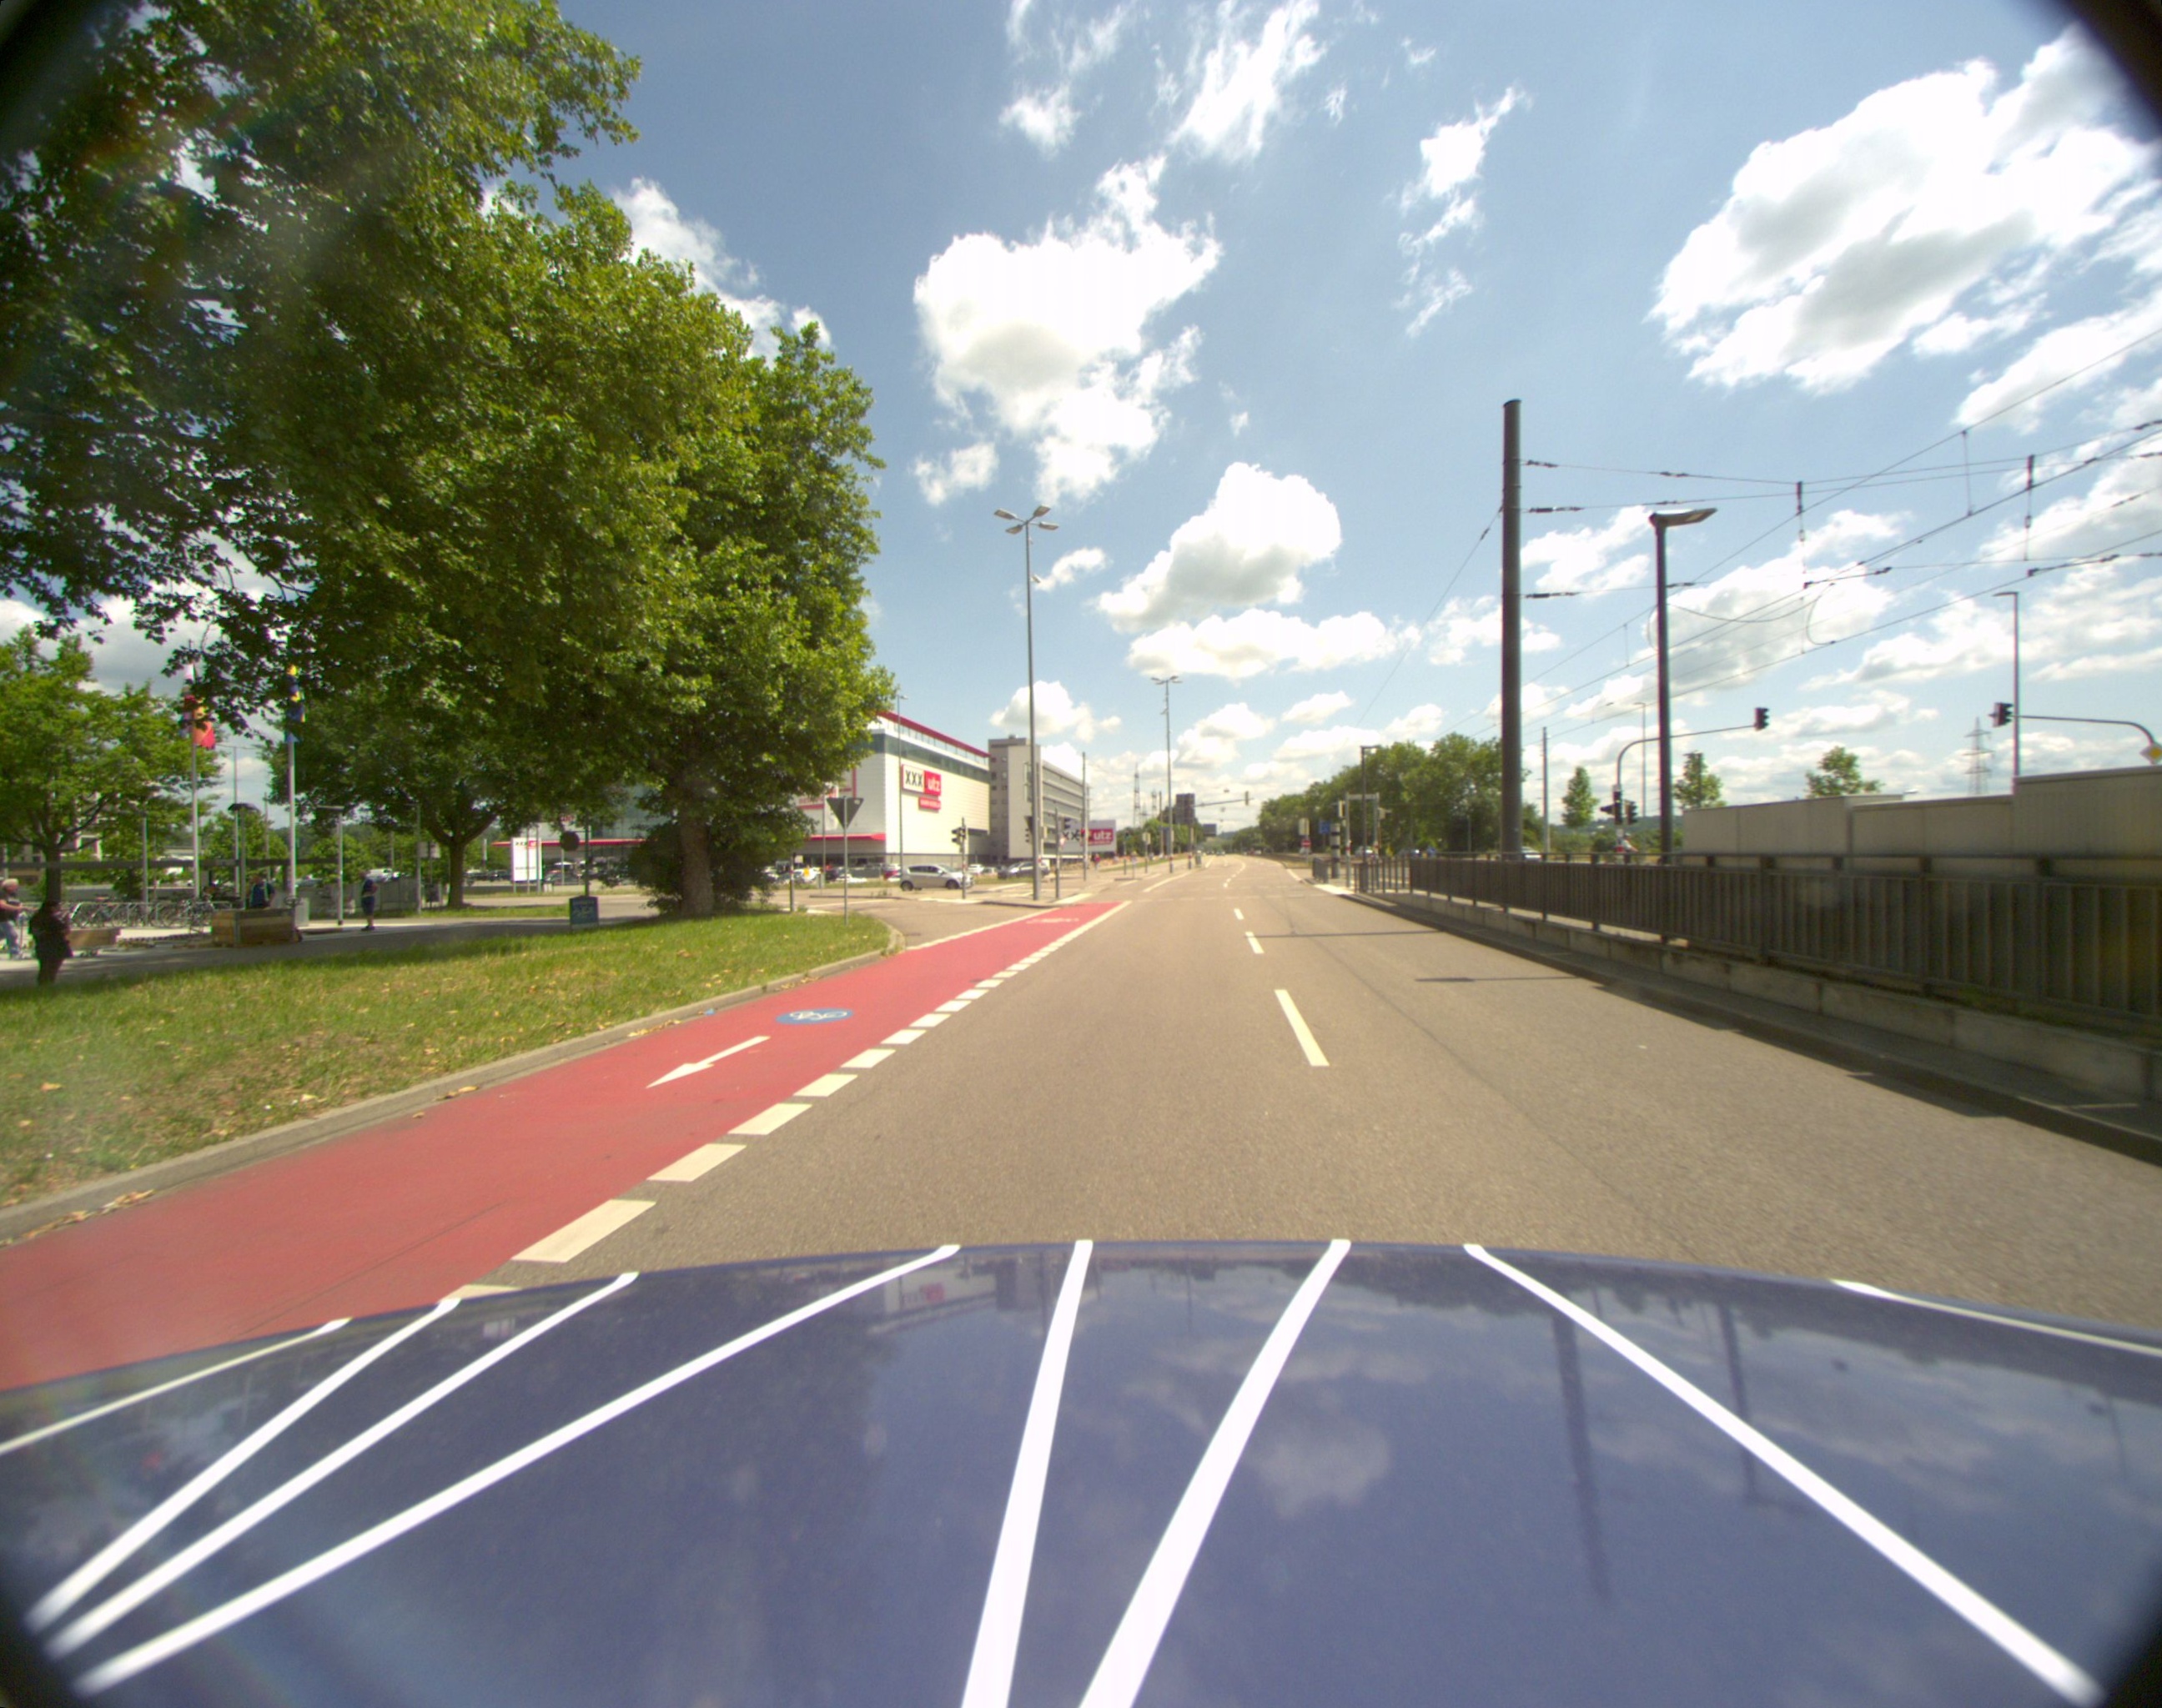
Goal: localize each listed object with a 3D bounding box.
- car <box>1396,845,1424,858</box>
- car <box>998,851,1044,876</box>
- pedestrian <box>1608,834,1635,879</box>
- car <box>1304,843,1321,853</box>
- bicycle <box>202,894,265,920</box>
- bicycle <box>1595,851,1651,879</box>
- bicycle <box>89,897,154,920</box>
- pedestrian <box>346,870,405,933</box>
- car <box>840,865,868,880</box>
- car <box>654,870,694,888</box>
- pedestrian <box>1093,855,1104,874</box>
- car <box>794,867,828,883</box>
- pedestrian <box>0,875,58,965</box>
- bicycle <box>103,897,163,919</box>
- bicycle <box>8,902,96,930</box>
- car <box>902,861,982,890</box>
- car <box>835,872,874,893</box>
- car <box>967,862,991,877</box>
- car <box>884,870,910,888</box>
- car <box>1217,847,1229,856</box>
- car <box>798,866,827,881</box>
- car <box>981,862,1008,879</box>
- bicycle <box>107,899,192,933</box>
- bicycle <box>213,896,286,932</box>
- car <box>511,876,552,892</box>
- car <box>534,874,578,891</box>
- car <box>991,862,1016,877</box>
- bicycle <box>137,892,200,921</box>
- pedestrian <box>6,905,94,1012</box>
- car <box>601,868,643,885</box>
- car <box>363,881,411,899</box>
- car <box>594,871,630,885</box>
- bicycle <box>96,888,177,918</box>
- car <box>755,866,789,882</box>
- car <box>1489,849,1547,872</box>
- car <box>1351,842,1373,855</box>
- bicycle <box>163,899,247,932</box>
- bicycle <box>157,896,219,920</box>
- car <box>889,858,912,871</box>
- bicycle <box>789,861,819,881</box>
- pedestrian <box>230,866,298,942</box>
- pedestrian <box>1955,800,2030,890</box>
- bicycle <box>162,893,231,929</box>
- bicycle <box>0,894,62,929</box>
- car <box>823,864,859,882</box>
[{"bbox_3d":[37.682,-0.330,86.988,1.668,1.400,3.893,-2,0,4],"label":"car"},{"bbox_3d":[-5.033,0.829,64.200,1.995,2.001,4.008,-2,-1,27],"label":"car"},{"bbox_3d":[21.797,0.106,30.646,0.671,1.758,0.613,-2,0,13],"label":"pedestrian"},{"bbox_3d":[44.265,-1.194,145.413,1.995,1.797,5.144,-2,-1,29],"label":"car"},{"bbox_3d":[-37.199,2.306,33.393,0.423,1.028,1.870,-2,-1,13],"label":"bicycle"},{"bbox_3d":[21.842,0.434,30.643,1.719,1.081,0.621,-2,0,13],"label":"bicycle"},{"bbox_3d":[-43.050,2.430,34.123,0.423,0.988,1.869,-1,-2,7],"label":"bicycle"},{"bbox_3d":[-22.041,1.470,23.748,0.971,1.891,1.012,-1,0,26],"label":"pedestrian"},{"bbox_3d":[-31.150,2.527,104.466,1.997,1.977,4.090,-2,-1,11],"label":"car"},{"bbox_3d":[-50.015,3.024,93.497,1.997,1.977,4.366,-2,0,11],"label":"car"},{"bbox_3d":[1.729,1.012,76.395,0.868,1.827,0.796,-2,3,-17],"label":"pedestrian"},{"bbox_3d":[-32.775,2.562,92.386,1.997,1.828,4.367,-2,-1,11],"label":"car"},{"bbox_3d":[-23.429,1.439,16.660,0.889,1.875,0.971,2,1,-35],"label":"pedestrian"},{"bbox_3d":[-46.149,2.614,37.002,0.423,0.988,1.870,-2,-2,7],"label":"bicycle"},{"bbox_3d":[-36.483,2.187,26.976,0.423,0.876,1.869,-1,-1,7],"label":"bicycle"},{"bbox_3d":[-7.471,1.148,41.107,3.828,1.461,1.901,-1,2,9],"label":"car"},{"bbox_3d":[-22.982,2.901,77.350,1.997,1.977,4.367,-2,-1,11],"label":"car"},{"bbox_3d":[-14.384,2.212,107.497,1.997,1.977,4.367,-2,-1,11],"label":"car"},{"bbox_3d":[-22.600,3.038,93.617,1.999,1.977,5.309,-1,-1,-1],"label":"car"},{"bbox_3d":[31.858,-0.498,170.495,1.996,2.001,4.006,-2,-1,18],"label":"car"},{"bbox_3d":[-37.510,2.758,106.380,1.997,1.977,4.090,-2,-1,11],"label":"car"},{"bbox_3d":[-10.256,1.928,90.569,1.997,1.977,4.367,-2,-1,11],"label":"car"},{"bbox_3d":[-31.836,2.100,26.011,0.464,0.989,1.869,-2,0,7],"label":"bicycle"},{"bbox_3d":[-28.231,2.015,25.834,0.504,1.101,1.925,0,-1,-7],"label":"bicycle"},{"bbox_3d":[-75.399,4.047,104.325,1.988,2.030,4.304,-2,-1,11],"label":"car"},{"bbox_3d":[-67.224,3.593,97.376,1.997,1.977,4.367,-2,-1,11],"label":"car"},{"bbox_3d":[-10.364,2.088,101.953,2.246,1.977,4.367,-2,-1,11],"label":"car"},{"bbox_3d":[-40.917,2.347,34.092,0.423,1.224,1.869,-2,-1,7],"label":"bicycle"},{"bbox_3d":[-16.956,1.691,12.504,0.718,1.653,0.594,2,-1,15],"label":"pedestrian"},{"bbox_3d":[-57.084,2.767,94.608,1.997,1.977,4.367,-2,-1,11],"label":"car"},{"bbox_3d":[-93.179,4.799,102.096,1.997,2.315,4.367,-1,-1,11],"label":"car"},{"bbox_3d":[-69.368,3.550,112.404,1.997,1.977,4.367,-2,-1,11],"label":"car"},{"bbox_3d":[-34.030,1.748,27.406,0.423,0.988,1.869,0,-2,7],"label":"bicycle"},{"bbox_3d":[-39.272,2.496,96.613,1.997,1.977,4.367,0,0,11],"label":"car"},{"bbox_3d":[36.423,0.561,63.441,1.884,1.763,4.666,-1,-1,-3],"label":"car"},{"bbox_3d":[39.899,-0.729,107.959,1.811,1.649,4.324,3,0,4],"label":"car"},{"bbox_3d":[-29.506,2.041,25.622,0.423,0.988,1.870,-2,-1,13],"label":"bicycle"},{"bbox_3d":[-39.722,2.383,33.819,0.423,0.988,1.869,0,-1,7],"label":"bicycle"},{"bbox_3d":[-28.595,1.619,120.366,1.997,1.977,4.090,-2,-1,13],"label":"car"},{"bbox_3d":[-23.474,1.456,64.417,2.045,1.665,1.022,-2,-1,11],"label":"bicycle"},{"bbox_3d":[-22.894,1.362,21.297,0.971,2.060,1.012,0,1,26],"label":"pedestrian"},{"bbox_3d":[17.808,-0.170,14.860,0.729,1.711,0.525,-2,-1,15],"label":"pedestrian"},{"bbox_3d":[-30.445,1.938,26.191,0.461,1.150,1.682,-2,-1,-3],"label":"bicycle"},{"bbox_3d":[-38.822,2.095,27.529,0.719,1.222,2.151,-2,-2,21],"label":"bicycle"},{"bbox_3d":[-28.027,2.217,88.986,1.997,1.978,4.600,-1,1,11],"label":"car"}]
